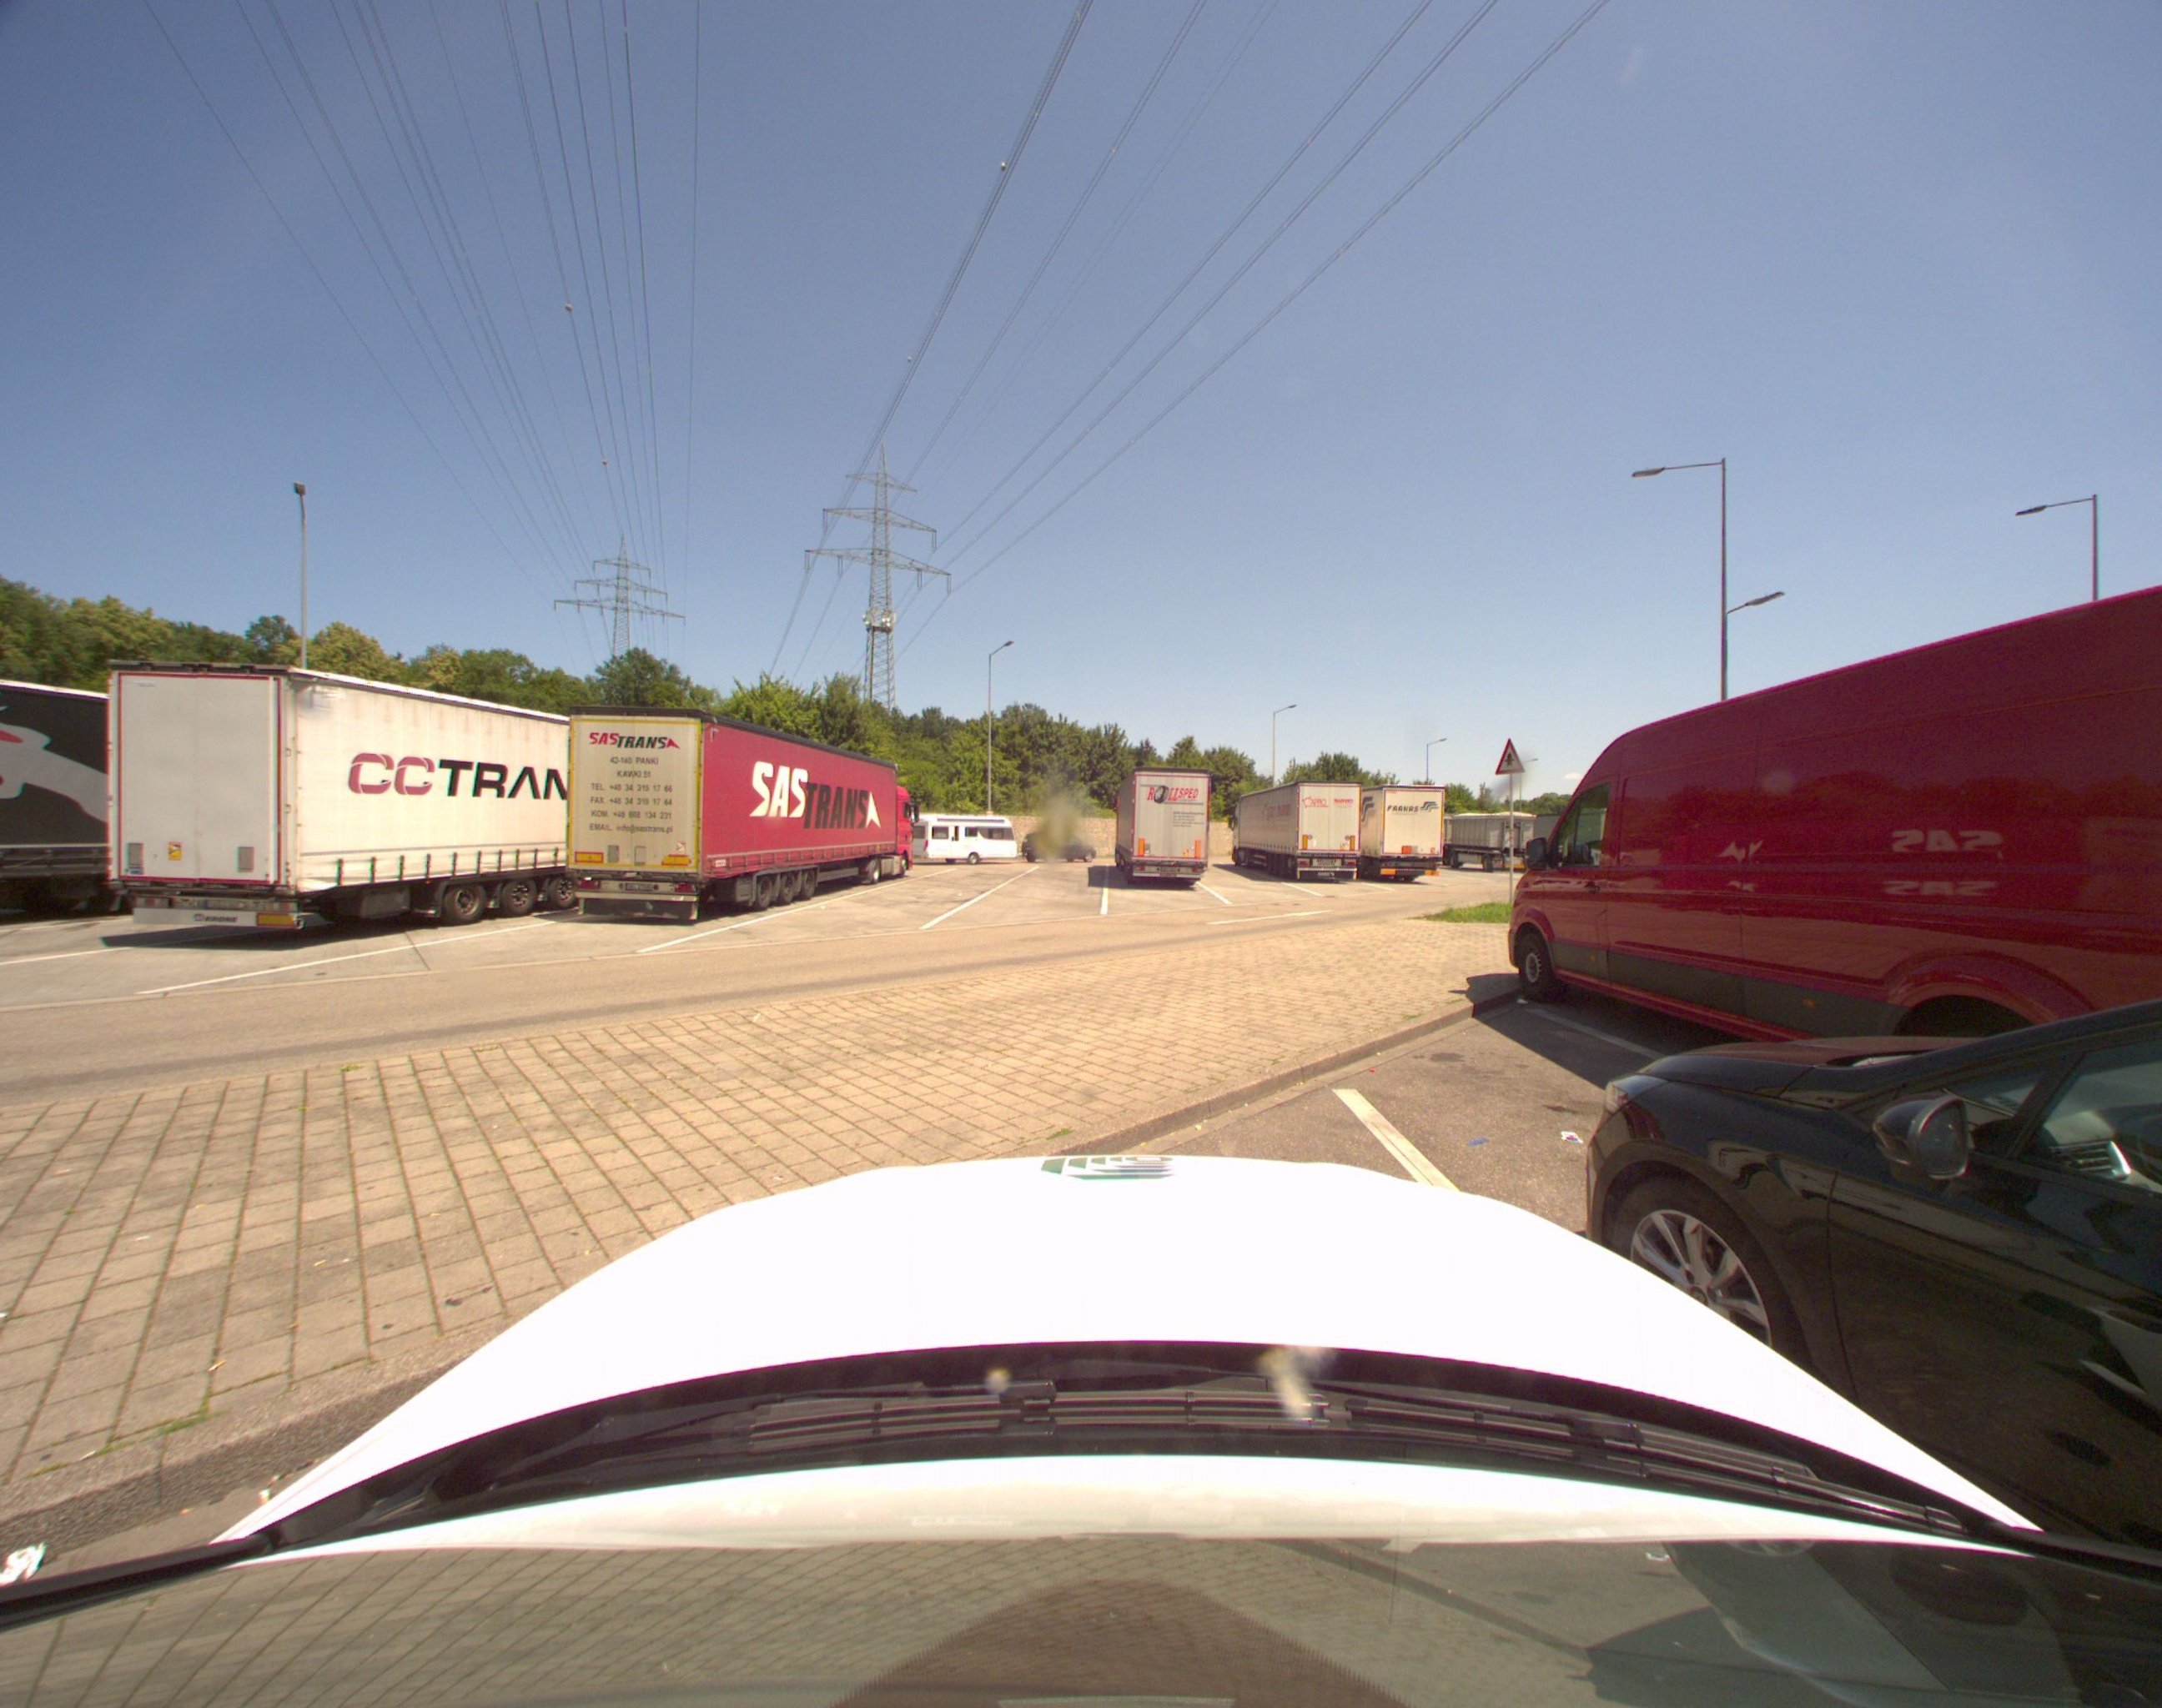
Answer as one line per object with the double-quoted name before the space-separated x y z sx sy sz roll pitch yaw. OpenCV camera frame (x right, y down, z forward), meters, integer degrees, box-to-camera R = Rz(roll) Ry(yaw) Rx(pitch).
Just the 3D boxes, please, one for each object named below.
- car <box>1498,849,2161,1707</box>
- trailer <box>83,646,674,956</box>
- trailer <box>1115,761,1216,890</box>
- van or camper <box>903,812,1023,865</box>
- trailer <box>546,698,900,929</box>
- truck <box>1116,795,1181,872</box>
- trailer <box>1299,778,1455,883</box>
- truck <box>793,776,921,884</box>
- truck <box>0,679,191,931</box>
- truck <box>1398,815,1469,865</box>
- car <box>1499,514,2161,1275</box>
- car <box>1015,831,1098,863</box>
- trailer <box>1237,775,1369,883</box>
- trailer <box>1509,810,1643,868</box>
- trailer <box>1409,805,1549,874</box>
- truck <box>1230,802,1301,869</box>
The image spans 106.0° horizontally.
"car" 2.510 0.760 1.154 1.733 1.482 3.813 -1 1 -3
"trailer" -12.206 -0.910 16.306 2.718 4.209 10.176 1 2 2
"trailer" 3.028 -1.113 33.270 2.896 4.132 13.727 1 2 1
"van or camper" -6.038 -0.808 42.230 5.880 2.564 2.245 0 2 -42
"trailer" -8.039 -0.972 21.634 2.896 4.131 13.731 1 2 2
"truck" 3.174 -1.003 39.882 2.841 3.483 5.486 1 1 2
"trailer" 13.617 -1.122 39.257 2.828 4.132 13.730 1 2 2
"truck" -7.799 -0.857 29.070 2.841 3.427 5.486 1 1 2
"truck" -18.582 -0.828 13.543 2.692 4.016 4.327 1 2 2
"truck" 24.931 -1.007 57.919 2.840 3.364 5.488 1 2 3
"car" 5.155 0.094 5.463 2.055 2.695 6.405 -1 1 6
"car" -1.366 -0.413 46.499 4.535 1.708 1.766 0 3 -40
"trailer" 9.960 -1.159 38.595 2.828 4.132 13.730 1 2 2
"trailer" 38.386 -1.221 64.100 2.826 4.049 13.737 1 2 3
"trailer" 24.540 -0.995 51.420 2.826 3.717 13.737 1 2 3
"truck" 10.170 -1.037 45.405 2.841 3.483 5.486 1 1 2
